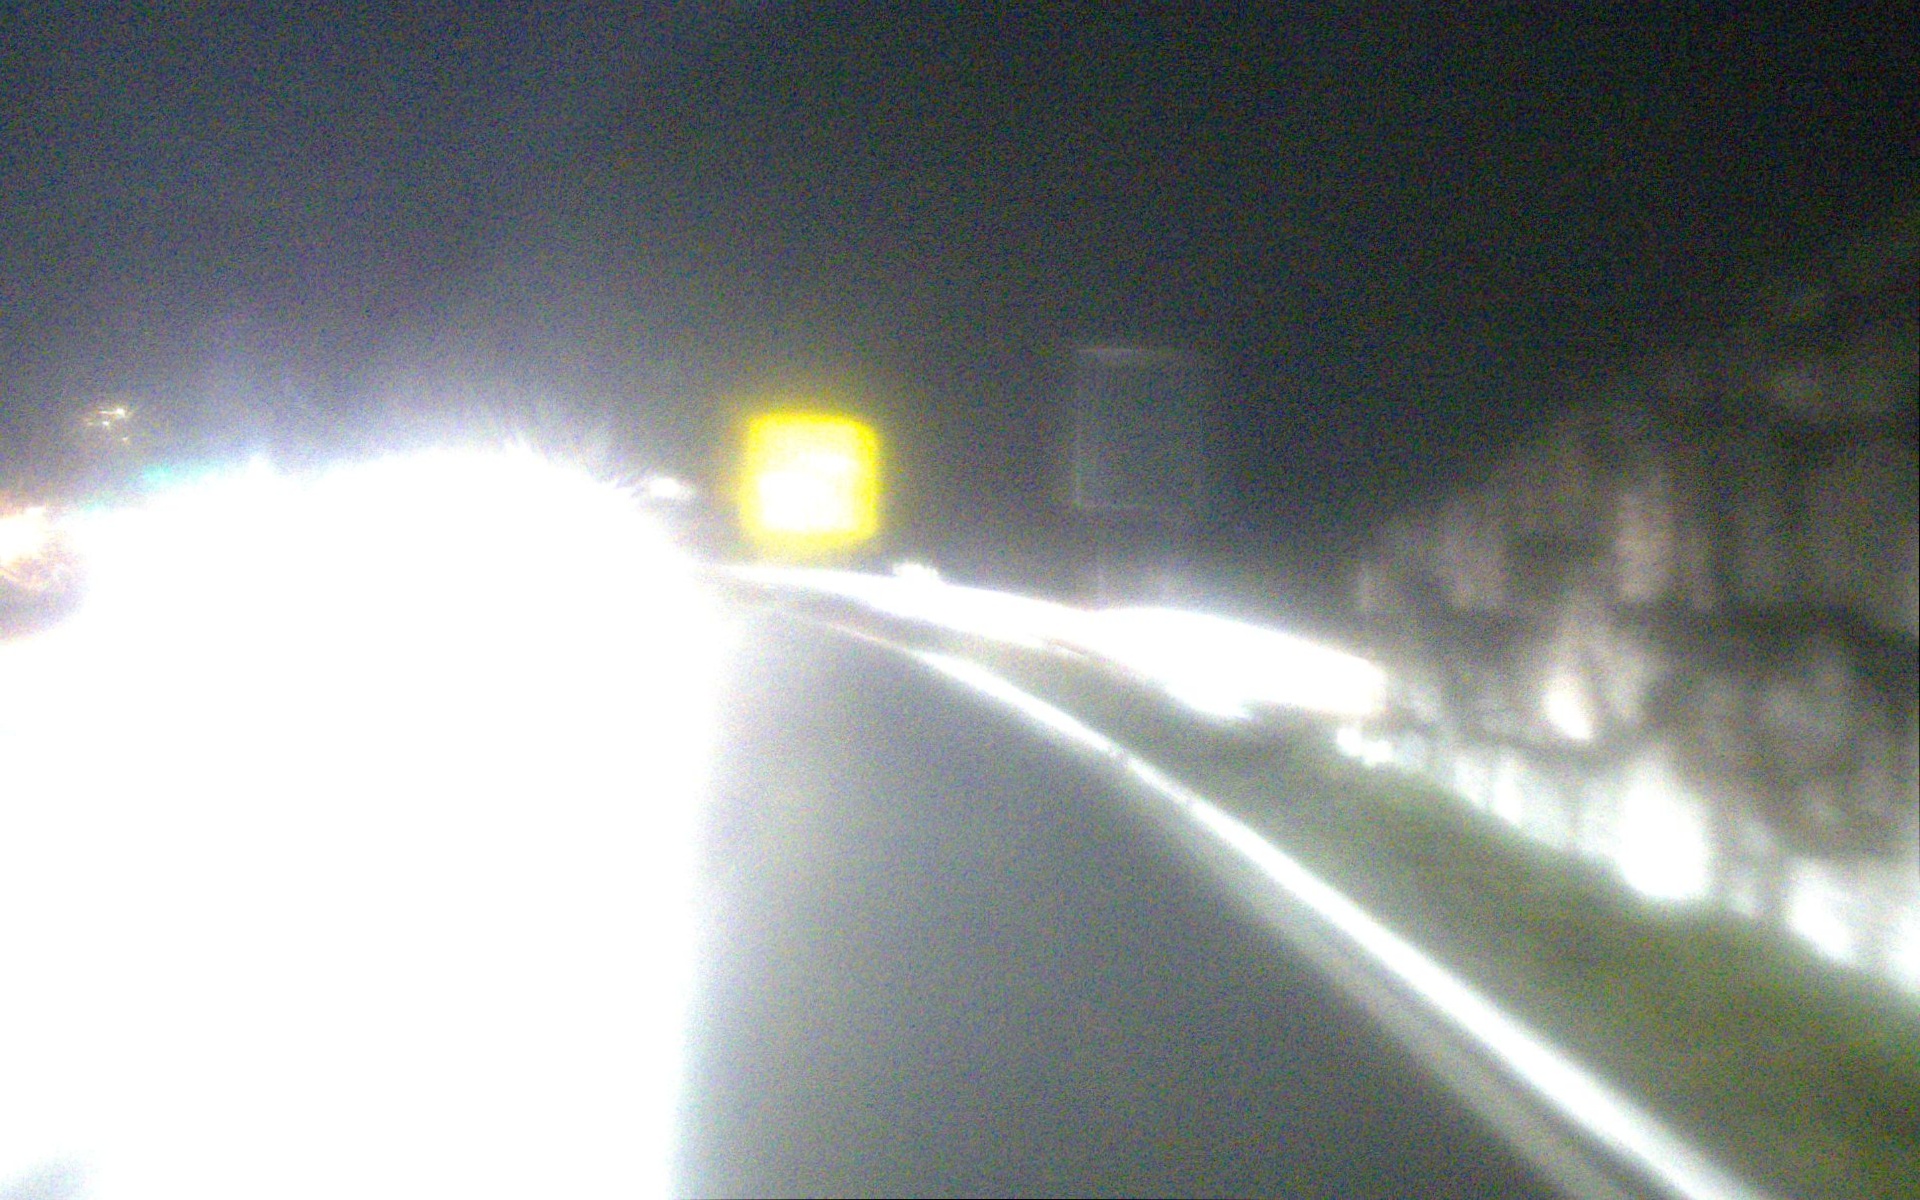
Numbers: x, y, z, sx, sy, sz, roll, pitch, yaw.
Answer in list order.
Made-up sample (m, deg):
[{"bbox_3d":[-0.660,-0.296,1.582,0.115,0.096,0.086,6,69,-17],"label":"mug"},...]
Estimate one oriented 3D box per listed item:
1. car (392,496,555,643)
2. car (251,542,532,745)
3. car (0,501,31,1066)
[{"bbox_3d":[-5.800,-0.371,41.274,1.687,1.675,3.468,-1,1,-4],"label":"car"},{"bbox_3d":[-4.609,0.308,28.390,1.817,1.554,4.179,0,1,-3],"label":"car"},{"bbox_3d":[-3.599,0.586,8.000,1.788,1.617,4.377,-1,2,-2],"label":"car"}]
